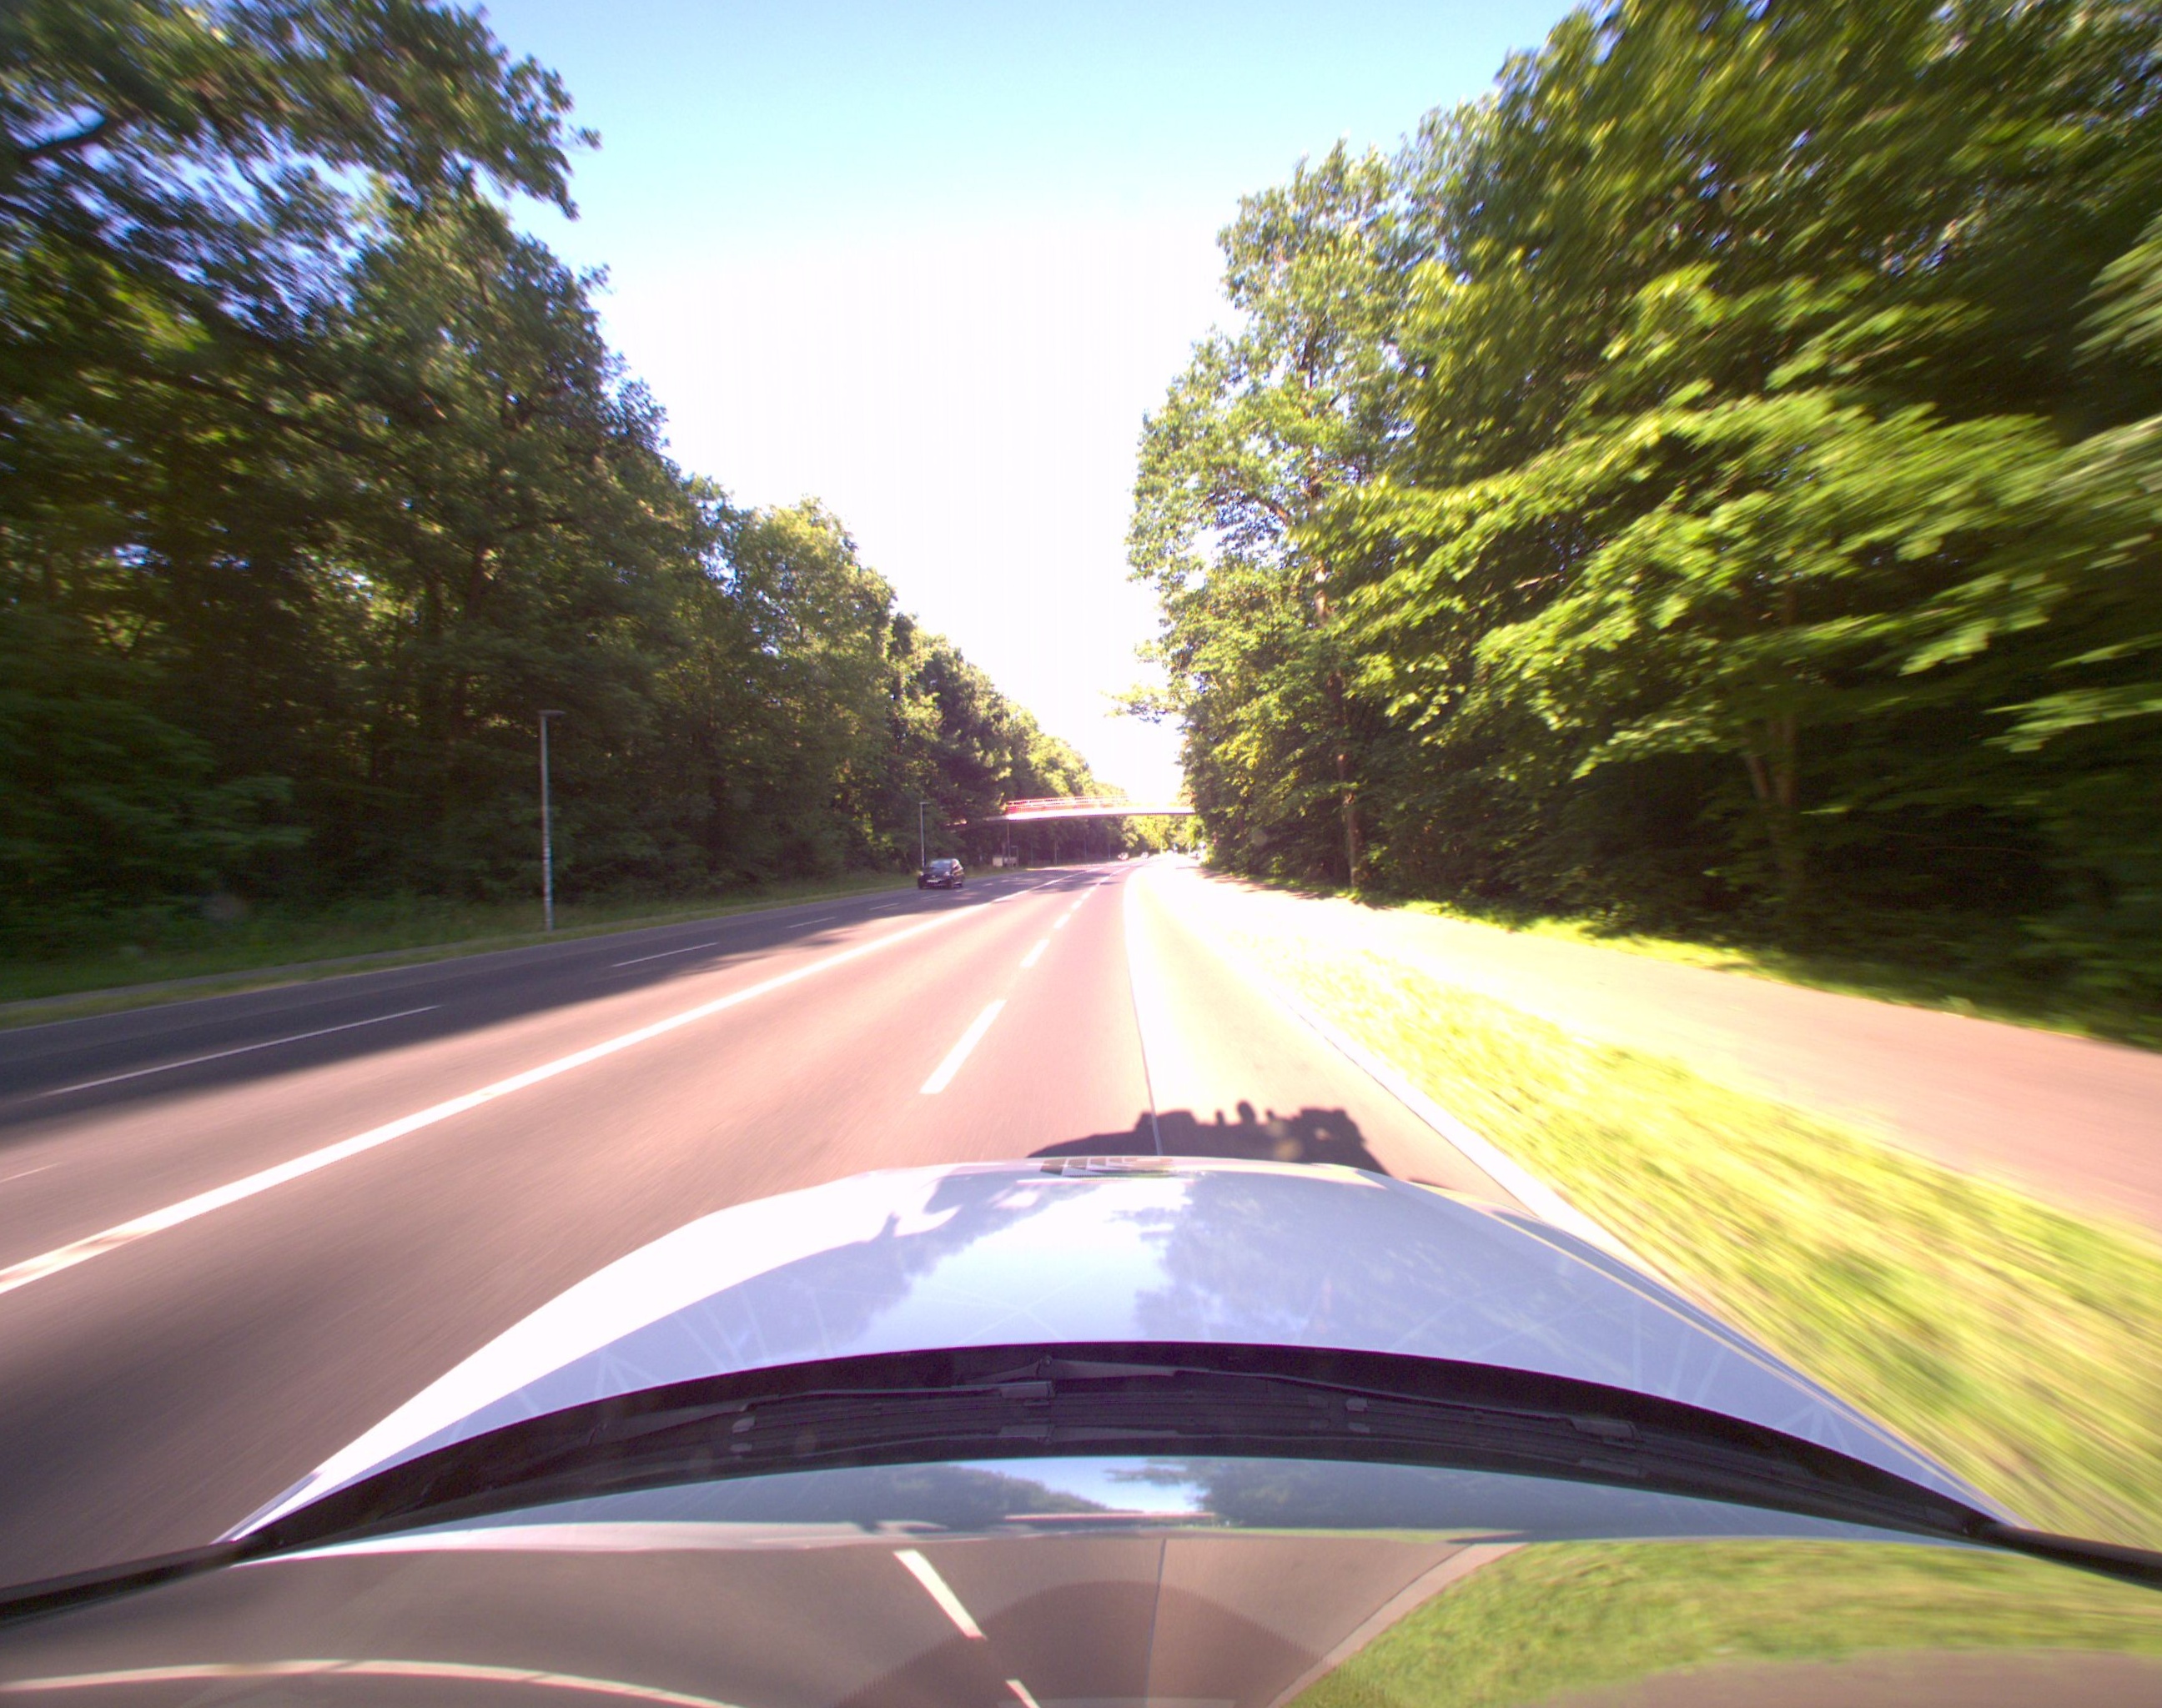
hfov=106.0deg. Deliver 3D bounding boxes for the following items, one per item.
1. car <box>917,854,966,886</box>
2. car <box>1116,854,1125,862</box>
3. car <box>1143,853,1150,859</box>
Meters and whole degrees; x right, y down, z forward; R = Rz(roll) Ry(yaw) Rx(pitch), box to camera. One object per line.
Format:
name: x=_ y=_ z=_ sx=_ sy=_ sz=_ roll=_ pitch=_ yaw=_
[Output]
car: x=-6.635 y=0.731 z=39.014 sx=1.489 sy=1.444 sz=3.503 roll=-1 pitch=0 yaw=3
car: x=8.327 y=0.756 z=171.138 sx=1.752 sy=1.582 sz=4.176 roll=0 pitch=0 yaw=7
car: x=16.906 y=0.427 z=209.410 sx=1.713 sy=1.574 sz=4.186 roll=0 pitch=0 yaw=7
